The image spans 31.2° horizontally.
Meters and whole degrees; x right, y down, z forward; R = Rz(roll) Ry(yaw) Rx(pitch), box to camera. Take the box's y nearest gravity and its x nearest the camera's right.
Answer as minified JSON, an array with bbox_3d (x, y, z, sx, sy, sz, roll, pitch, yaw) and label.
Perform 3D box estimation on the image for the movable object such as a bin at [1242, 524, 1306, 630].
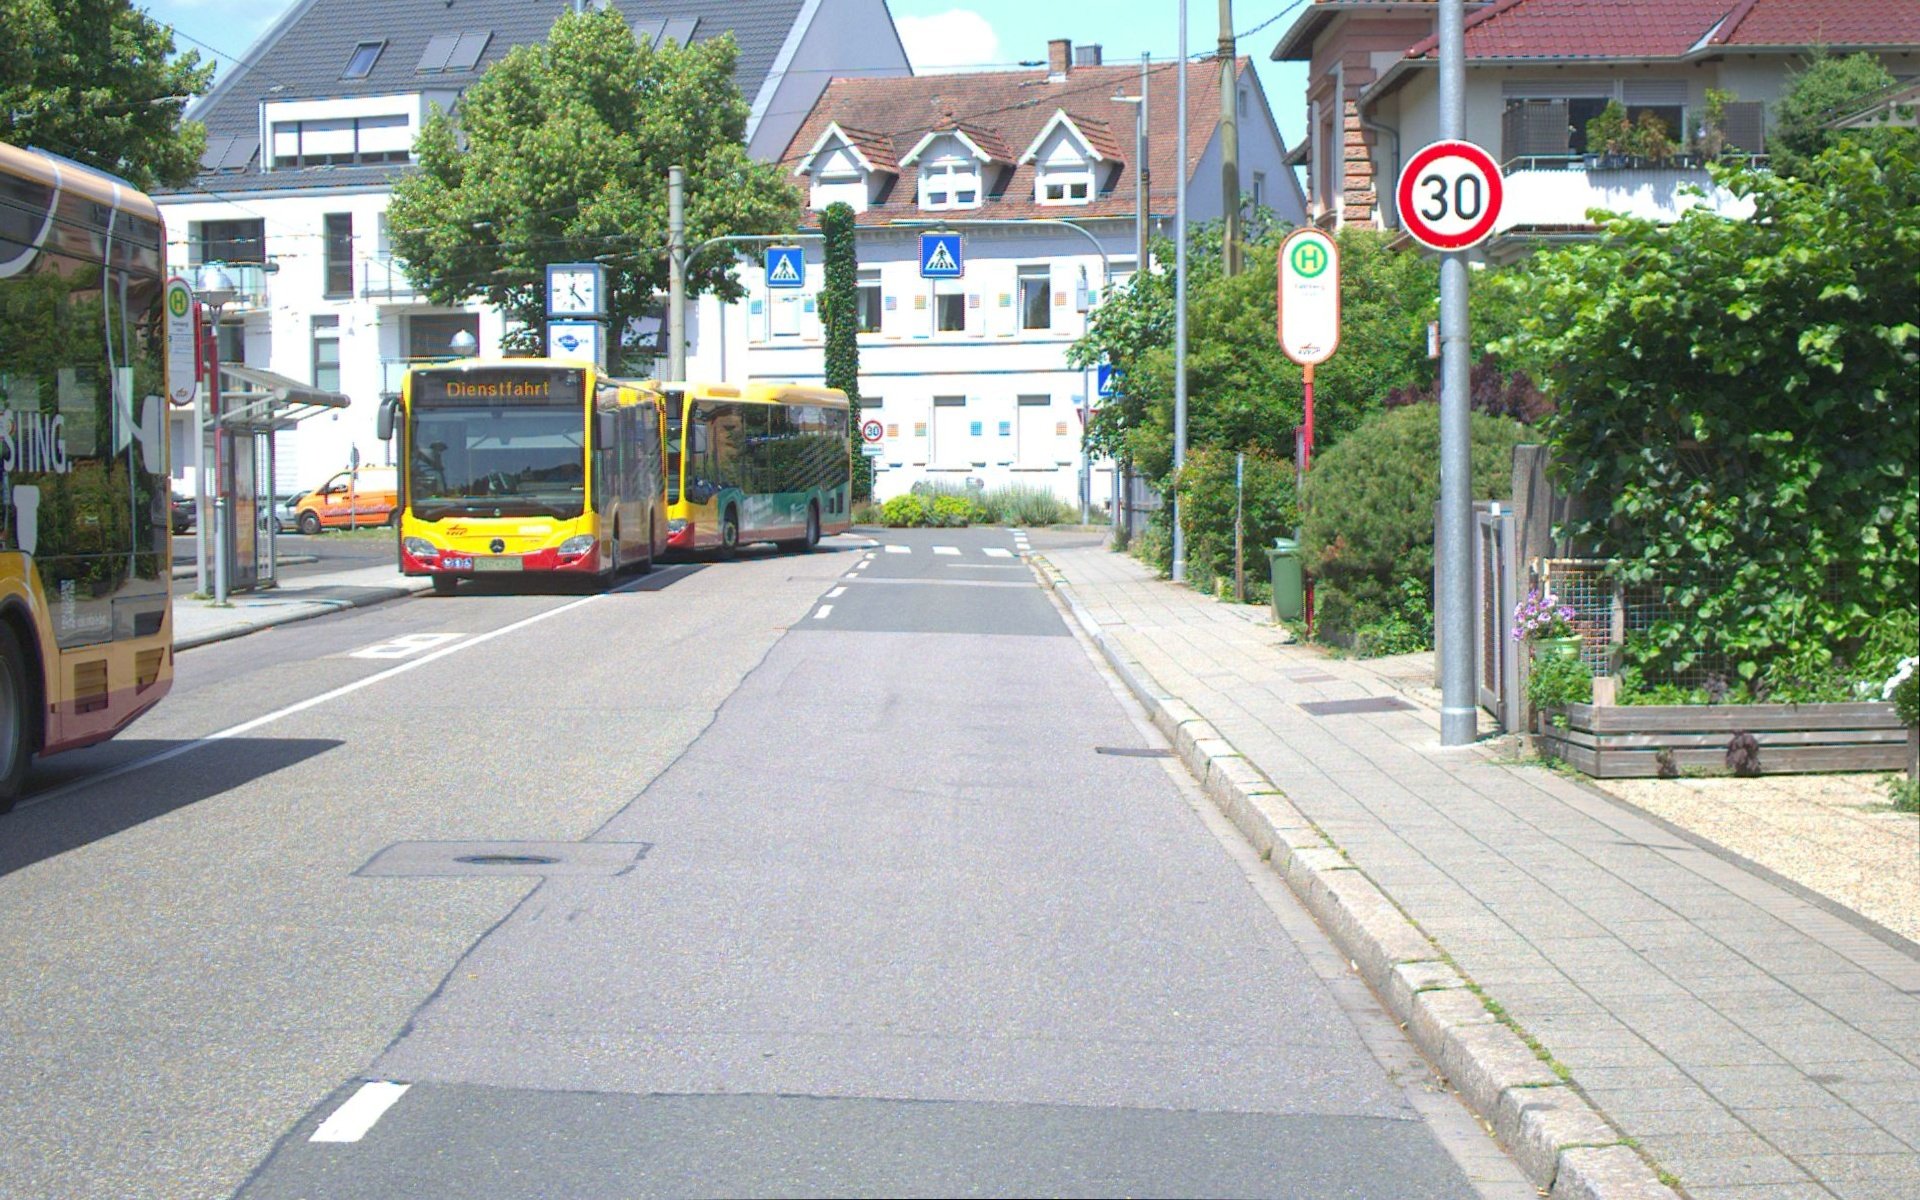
[{"bbox_3d":[2.764,-0.207,30.282,0.406,0.904,0.729,-4,1,-3],"label":"movable object such as a bin"}]

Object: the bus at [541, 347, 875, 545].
[{"bbox_3d":[-4.345,-2.838,62.961,2.781,3.197,12.302,2,3,12],"label":"bus"}]

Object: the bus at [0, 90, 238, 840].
[{"bbox_3d":[-5.616,-0.587,13.338,2.898,3.236,12.197,2,1,0],"label":"bus"}]

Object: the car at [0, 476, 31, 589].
[{"bbox_3d":[-13.130,-0.874,42.037,3.277,1.368,1.469,1,1,-20],"label":"car"}]

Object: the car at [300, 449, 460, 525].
[{"bbox_3d":[-16.254,-3.177,96.356,3.993,2.007,1.997,2,1,29],"label":"car"}]

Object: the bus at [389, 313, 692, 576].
[{"bbox_3d":[-5.776,-2.149,49.497,2.907,3.236,12.120,2,2,-1],"label":"bus"}]
